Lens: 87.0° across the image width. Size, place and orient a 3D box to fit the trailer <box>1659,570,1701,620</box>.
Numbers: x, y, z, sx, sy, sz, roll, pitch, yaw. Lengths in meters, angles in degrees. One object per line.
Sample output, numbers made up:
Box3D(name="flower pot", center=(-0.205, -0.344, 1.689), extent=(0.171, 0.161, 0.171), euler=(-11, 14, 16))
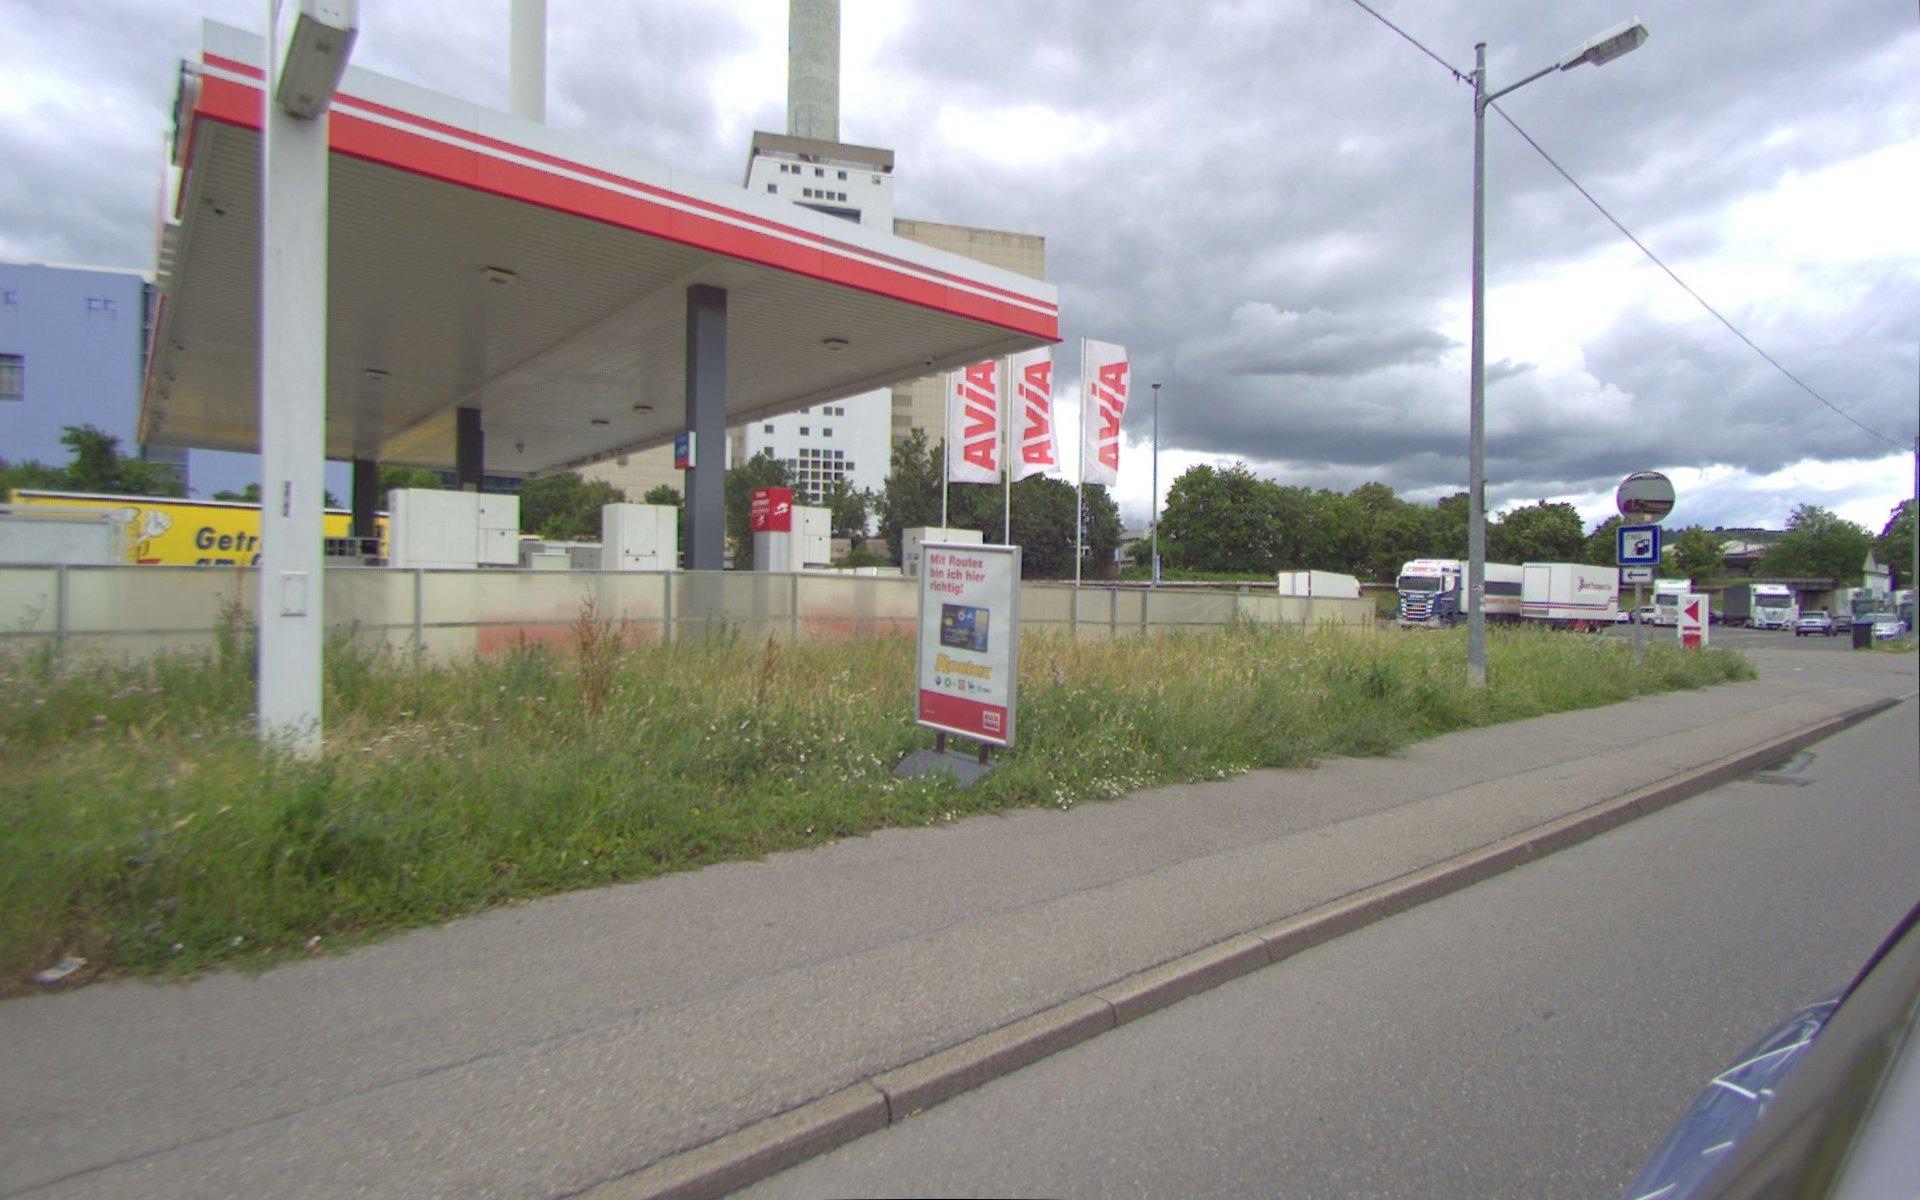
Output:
Box3D(name="trailer", center=(65.398, -0.403, 91.994), extent=(2.822, 4.146, 13.224), euler=(2, 0, 35))

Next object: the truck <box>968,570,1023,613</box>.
Box3D(name="truck", center=(3.348, -0.774, 98.856), extent=(3.634, 4.015, 7.270), euler=(1, 0, -12))

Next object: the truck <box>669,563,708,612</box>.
Box3D(name="truck", center=(-26.036, -1.170, 96.802), extent=(3.474, 4.489, 6.667), euler=(0, 0, -16))

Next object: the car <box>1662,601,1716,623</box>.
Box3D(name="car", center=(84.629, 1.334, 117.520), extent=(2.322, 2.480, 4.927), euler=(1, 0, -9))

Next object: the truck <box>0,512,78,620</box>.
Box3D(name="truck", center=(-39.877, -1.401, 41.170), extent=(5.936, 4.316, 3.048), euler=(1, 0, -42))

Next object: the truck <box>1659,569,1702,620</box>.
Box3D(name="truck", center=(61.935, -0.441, 87.022), extent=(2.857, 4.146, 6.669), euler=(2, 0, 35))

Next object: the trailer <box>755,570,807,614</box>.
Box3D(name="trailer", center=(-16.715, -0.658, 93.113), extent=(3.566, 3.591, 18.536), euler=(1, 0, -13))

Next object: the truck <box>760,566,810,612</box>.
Box3D(name="truck", center=(-14.618, -0.874, 84.195), extent=(3.634, 3.603, 7.270), euler=(1, 0, -13))

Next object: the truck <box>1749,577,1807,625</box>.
Box3D(name="truck", center=(73.003, 0.087, 90.451), extent=(2.850, 4.146, 6.685), euler=(2, 0, 30))

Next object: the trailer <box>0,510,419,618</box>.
Box3D(name="trailer", center=(-33.834, -1.438, 46.594), extent=(15.453, 4.314, 3.025), euler=(0, 0, -42))

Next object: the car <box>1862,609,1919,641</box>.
Box3D(name="car", center=(45.424, 1.198, 49.215), extent=(4.479, 1.482, 1.776), euler=(1, 0, -41))

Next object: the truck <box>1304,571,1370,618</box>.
Box3D(name="truck", center=(33.267, -0.435, 89.245), extent=(3.610, 3.928, 7.159), euler=(0, 0, 37))

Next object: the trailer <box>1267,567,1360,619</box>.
Box3D(name="trailer", center=(29.509, -0.494, 83.966), extent=(3.620, 3.960, 13.560), euler=(1, 0, 35))

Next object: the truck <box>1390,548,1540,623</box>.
Box3D(name="truck", center=(29.935, -0.792, 59.513), extent=(12.838, 4.017, 3.081), euler=(1, 1, -41))

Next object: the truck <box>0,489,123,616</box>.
Box3D(name="truck", center=(-31.043, -1.519, 32.773), extent=(5.936, 3.964, 2.961), euler=(1, 0, -42))

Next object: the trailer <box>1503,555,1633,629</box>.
Box3D(name="trailer", center=(35.661, -0.447, 59.183), extent=(10.213, 4.017, 2.966), euler=(1, 1, -38))

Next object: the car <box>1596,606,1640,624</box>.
Box3D(name="car", center=(74.604, 1.716, 114.822), extent=(1.958, 1.896, 4.007), euler=(1, 0, -11))

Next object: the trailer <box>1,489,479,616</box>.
Box3D(name="trailer", center=(-25.761, -1.486, 37.516), extent=(14.054, 3.964, 3.004), euler=(0, 0, -42))

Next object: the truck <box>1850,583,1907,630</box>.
Box3D(name="truck", center=(83.459, 0.566, 92.066), extent=(2.856, 4.064, 6.673), euler=(2, 0, 34))

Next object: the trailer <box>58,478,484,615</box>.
Box3D(name="trailer", center=(-27.361, -1.868, 41.320), extent=(14.054, 4.783, 3.004), euler=(0, 0, -42))

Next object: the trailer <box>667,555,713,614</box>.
Box3D(name="trailer", center=(-23.534, -1.175, 87.842), extent=(3.484, 4.558, 18.326), euler=(0, 0, -16))

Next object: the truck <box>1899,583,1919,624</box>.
Box3D(name="truck", center=(88.467, 0.382, 92.490), extent=(2.856, 3.676, 6.673), euler=(2, 0, 34))

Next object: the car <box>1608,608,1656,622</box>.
Box3D(name="car", center=(77.048, 1.723, 116.103), extent=(1.959, 1.458, 4.727), euler=(1, 0, -9))

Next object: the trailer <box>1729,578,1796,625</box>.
Box3D(name="trailer", center=(76.490, 0.145, 96.722), extent=(2.815, 4.146, 13.257), euler=(1, 0, 29))

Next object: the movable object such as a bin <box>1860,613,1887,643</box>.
Box3D(name="movable object such as a bin", center=(33.599, 1.031, 37.216), extent=(0.714, 1.095, 0.652), euler=(0, -1, 43))

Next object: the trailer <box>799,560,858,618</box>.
Box3D(name="trailer", center=(-11.908, -0.873, 89.807), extent=(3.484, 4.558, 18.324), euler=(0, 0, -13))

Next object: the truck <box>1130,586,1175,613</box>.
Box3D(name="truck", center=(19.739, -0.076, 104.126), extent=(2.233, 2.521, 5.972), euler=(1, 1, -14))

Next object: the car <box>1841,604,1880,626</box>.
Box3D(name="car", center=(65.580, 1.076, 73.714), extent=(3.979, 1.514, 1.496), euler=(1, 0, -39))

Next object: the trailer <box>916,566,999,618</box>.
Box3D(name="trailer", center=(-0.549, -0.695, 92.612), extent=(3.566, 4.226, 18.536), euler=(1, 0, -13))

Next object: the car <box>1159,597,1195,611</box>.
Box3D(name="car", center=(22.241, 0.419, 103.827), extent=(1.958, 1.371, 4.156), euler=(1, 0, -14))

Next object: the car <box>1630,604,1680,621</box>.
Box3D(name="car", center=(79.447, 1.436, 115.808), extent=(1.959, 1.916, 4.727), euler=(1, 0, -9))

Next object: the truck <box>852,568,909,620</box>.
Box3D(name="truck", center=(-6.828, -0.496, 85.858), extent=(3.633, 4.172, 7.270), euler=(1, 0, -14))

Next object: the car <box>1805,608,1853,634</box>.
Box3D(name="car", center=(55.526, 1.351, 64.635), extent=(3.930, 1.591, 1.767), euler=(1, -2, -41))

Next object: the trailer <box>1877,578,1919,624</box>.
Box3D(name="trailer", center=(91.952, 0.172, 97.759), extent=(2.820, 4.146, 13.235), euler=(2, 0, 33))

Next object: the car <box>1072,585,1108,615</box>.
Box3D(name="car", center=(12.819, -0.047, 100.207), extent=(2.064, 2.872, 5.095), euler=(1, 0, -9))
